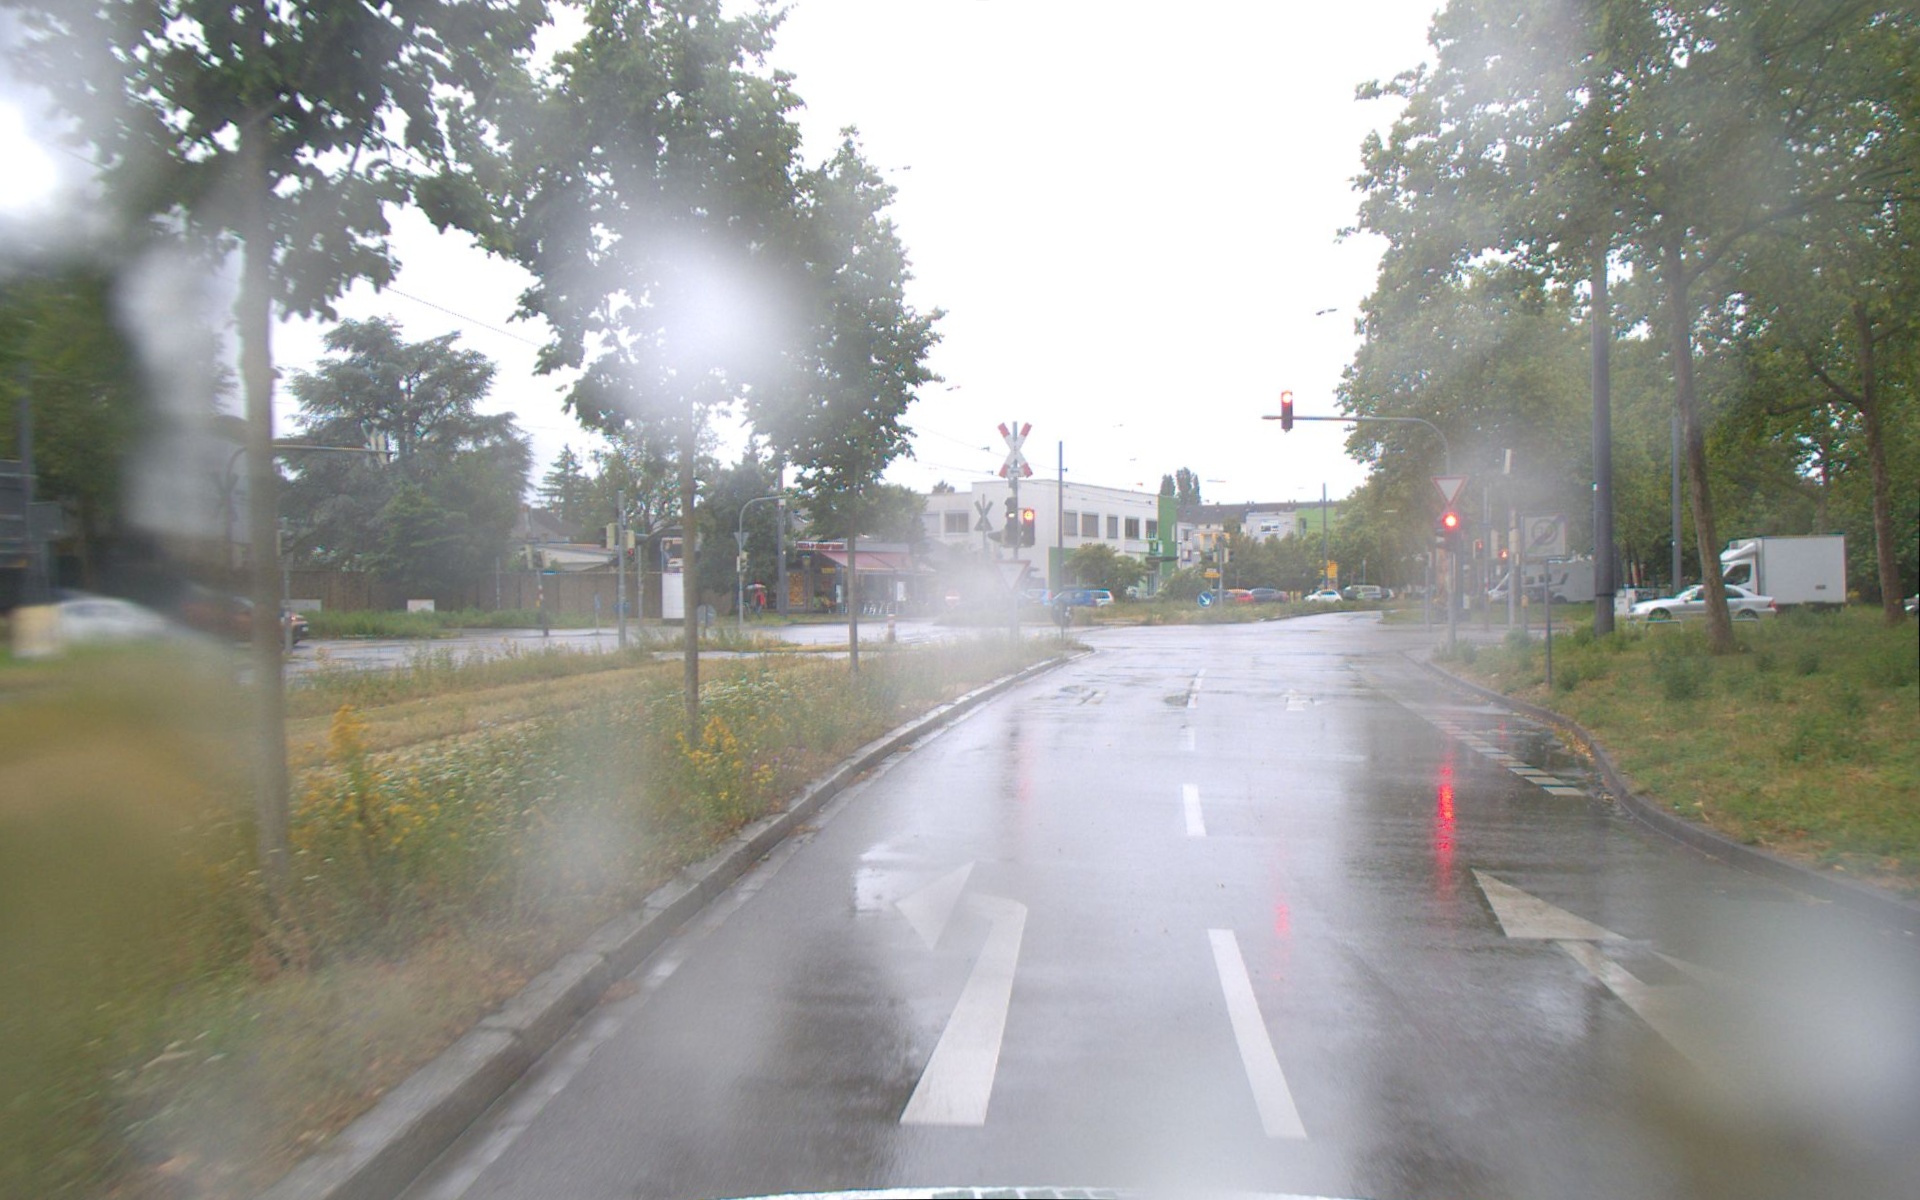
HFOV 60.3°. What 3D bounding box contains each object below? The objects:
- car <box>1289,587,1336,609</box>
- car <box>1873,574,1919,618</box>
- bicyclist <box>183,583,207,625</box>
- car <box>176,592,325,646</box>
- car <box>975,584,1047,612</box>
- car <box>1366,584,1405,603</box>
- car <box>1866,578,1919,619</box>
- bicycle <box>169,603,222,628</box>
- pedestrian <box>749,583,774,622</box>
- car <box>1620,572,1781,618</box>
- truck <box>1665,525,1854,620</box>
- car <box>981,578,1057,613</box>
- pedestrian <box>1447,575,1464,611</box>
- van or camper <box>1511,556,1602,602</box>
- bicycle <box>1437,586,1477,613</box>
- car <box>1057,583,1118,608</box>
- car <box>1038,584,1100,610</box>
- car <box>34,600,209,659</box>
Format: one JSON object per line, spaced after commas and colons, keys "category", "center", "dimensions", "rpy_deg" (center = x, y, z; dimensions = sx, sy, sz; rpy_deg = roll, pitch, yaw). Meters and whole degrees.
{"category": "car", "center": [32.448, -0.198, 152.368], "dimensions": [4.048, 1.892, 1.674], "rpy_deg": [-1, 0, 4]}
{"category": "car", "center": [32.922, -0.148, 55.137], "dimensions": [4.023, 1.414, 1.645], "rpy_deg": [0, 0, 5]}
{"category": "bicyclist", "center": [-31.766, 0.154, 68.665], "dimensions": [0.669, 1.712, 0.642], "rpy_deg": [-1, 0, 4]}
{"category": "car", "center": [-21.307, 0.558, 49.768], "dimensions": [3.741, 1.525, 1.651], "rpy_deg": [-1, 0, -2]}
{"category": "car", "center": [2.811, -0.089, 91.078], "dimensions": [3.670, 1.467, 1.764], "rpy_deg": [-1, 0, 11]}
{"category": "car", "center": [45.714, -0.720, 177.777], "dimensions": [4.047, 1.892, 1.675], "rpy_deg": [-1, 0, 15]}
{"category": "car", "center": [34.933, -0.057, 59.087], "dimensions": [4.111, 1.447, 1.767], "rpy_deg": [0, 0, 7]}
{"category": "bicycle", "center": [-31.748, 0.635, 68.665], "dimensions": [1.917, 0.983, 0.642], "rpy_deg": [-1, 0, 4]}
{"category": "pedestrian", "center": [-9.245, 0.101, 76.996], "dimensions": [0.794, 1.794, 0.897], "rpy_deg": [-1, 0, -36]}
{"category": "car", "center": [23.654, -0.164, 52.958], "dimensions": [4.417, 1.414, 1.645], "rpy_deg": [0, 0, 5]}
{"category": "truck", "center": [26.880, -0.909, 55.730], "dimensions": [5.353, 3.112, 1.982], "rpy_deg": [0, 0, 5]}
{"category": "car", "center": [3.364, -0.253, 94.494], "dimensions": [4.047, 1.892, 1.675], "rpy_deg": [-1, 0, 15]}
{"category": "pedestrian", "center": [20.995, -0.284, 70.042], "dimensions": [0.564, 1.501, 0.500], "rpy_deg": [-1, 0, 0]}
{"category": "van or camper", "center": [37.476, -1.341, 103.998], "dimensions": [5.119, 2.744, 2.241], "rpy_deg": [2, 1, 27]}
{"category": "bicycle", "center": [21.039, -0.011, 70.042], "dimensions": [1.529, 1.121, 0.500], "rpy_deg": [-1, 0, 0]}
{"category": "car", "center": [7.834, -0.257, 102.155], "dimensions": [3.672, 1.467, 1.763], "rpy_deg": [-1, 0, 2]}
{"category": "car", "center": [6.519, -0.200, 99.029], "dimensions": [3.672, 1.467, 1.763], "rpy_deg": [-1, 0, 2]}
{"category": "car", "center": [-23.277, 0.794, 46.010], "dimensions": [3.984, 1.525, 1.651], "rpy_deg": [-1, 0, -2]}
